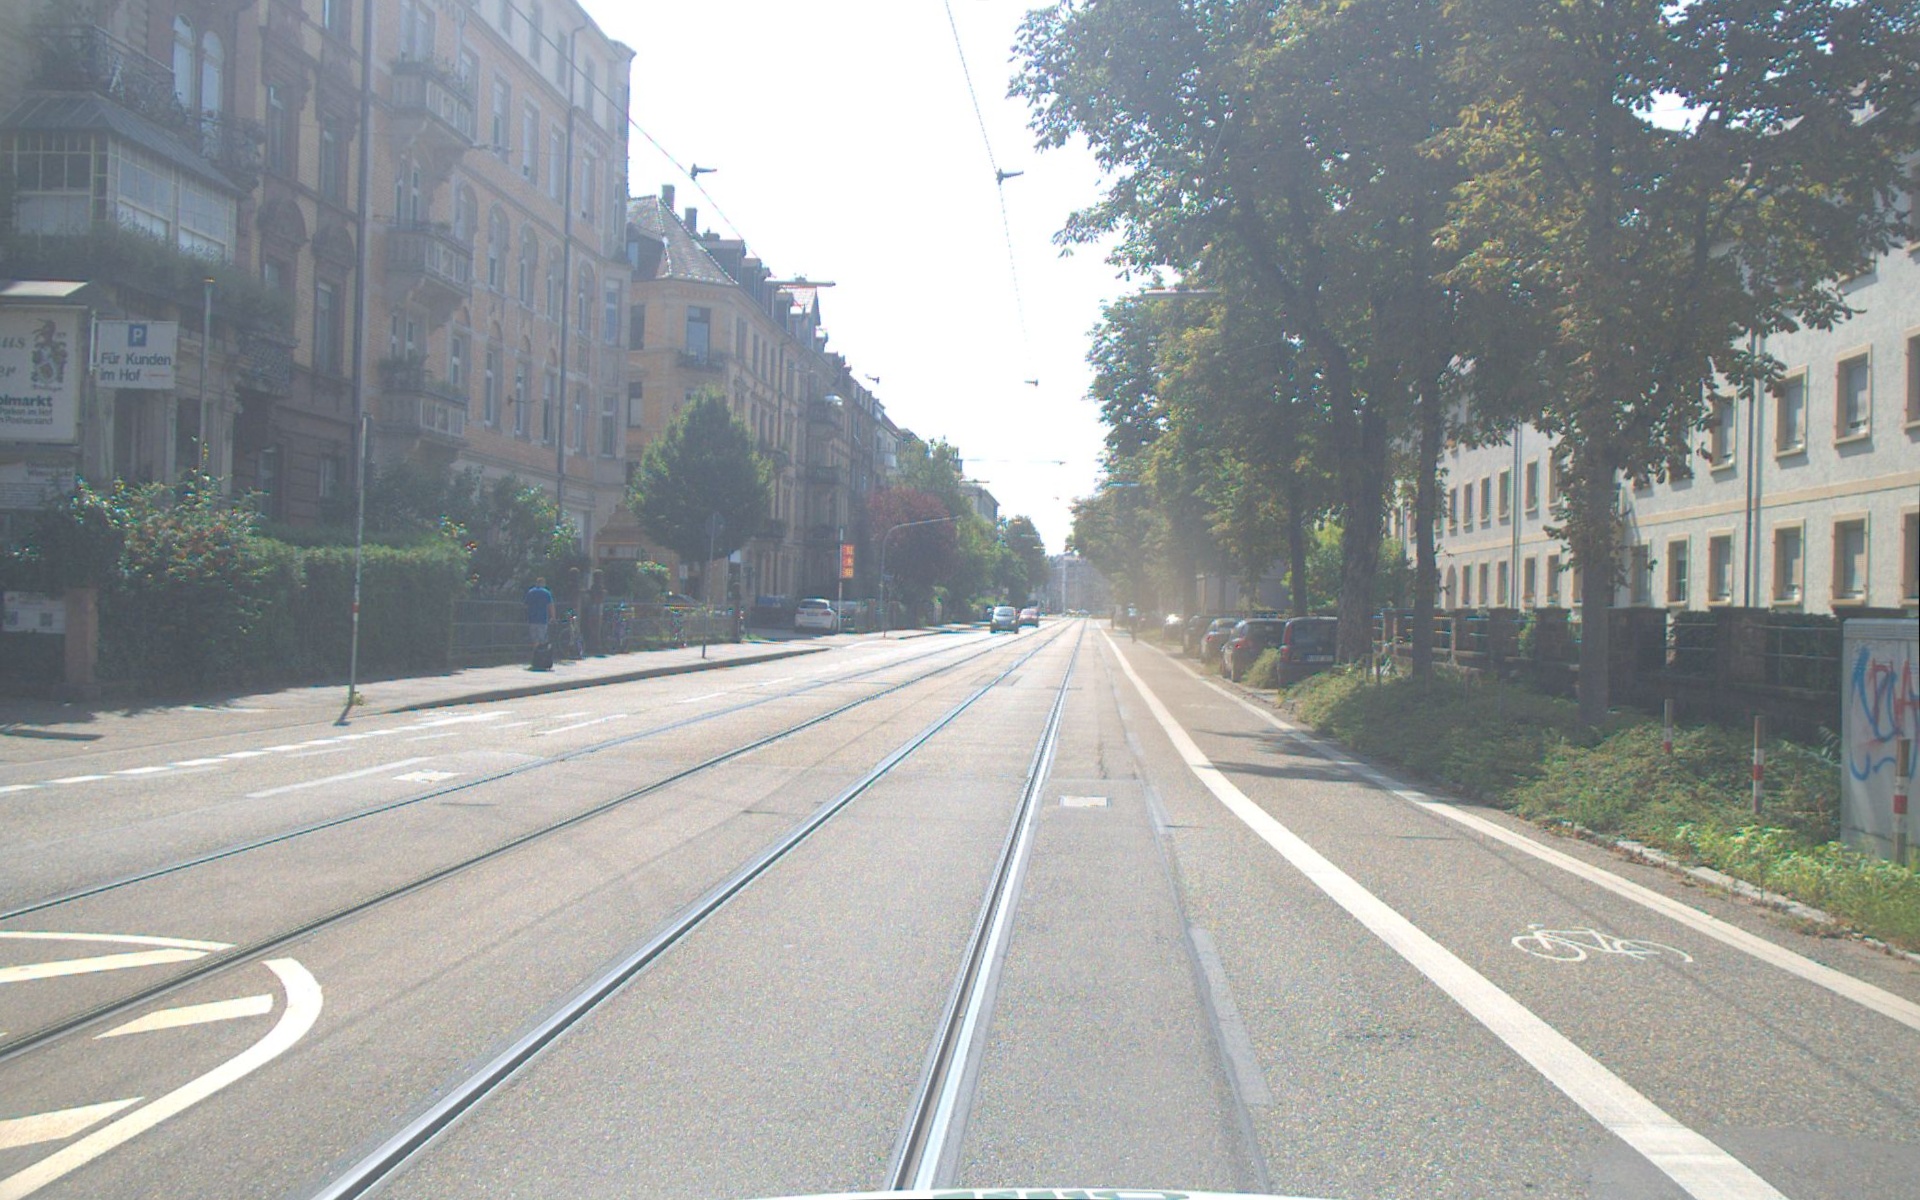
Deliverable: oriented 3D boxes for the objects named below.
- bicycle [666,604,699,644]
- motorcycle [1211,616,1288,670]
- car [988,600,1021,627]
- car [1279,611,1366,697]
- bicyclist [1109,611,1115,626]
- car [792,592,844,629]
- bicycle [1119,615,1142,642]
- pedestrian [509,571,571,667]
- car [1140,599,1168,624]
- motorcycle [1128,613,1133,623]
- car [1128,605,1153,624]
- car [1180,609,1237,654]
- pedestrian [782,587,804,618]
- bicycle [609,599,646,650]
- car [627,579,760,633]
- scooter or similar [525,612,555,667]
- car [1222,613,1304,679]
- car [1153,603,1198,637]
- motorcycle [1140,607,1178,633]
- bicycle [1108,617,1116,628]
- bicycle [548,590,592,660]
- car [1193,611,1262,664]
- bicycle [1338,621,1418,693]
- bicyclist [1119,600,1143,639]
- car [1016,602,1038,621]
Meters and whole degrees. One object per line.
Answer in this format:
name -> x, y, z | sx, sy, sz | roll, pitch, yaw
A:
bicycle -> -7.539, 0.643, 44.964 | 0.382, 1.056, 1.834 | 2, 0, 5
motorcycle -> 7.877, 1.157, 45.038 | 1.962, 1.392, 0.783 | 1, 0, 2
car -> 2.734, 0.823, 101.114 | 1.788, 1.567, 4.002 | 1, 0, 4
car -> 7.085, 1.008, 32.563 | 1.582, 1.557, 3.502 | 1, 0, 11
bicyclist -> 13.738, 1.657, 149.449 | 0.566, 1.301, 0.471 | 2, -1, 7
car -> -6.640, 0.484, 77.807 | 1.952, 1.622, 4.360 | 1, 0, 1
bicycle -> 8.438, 1.399, 81.789 | 1.123, 1.291, 2.714 | 1, 0, 6
pedestrian -> -8.033, 0.362, 31.635 | 0.865, 1.786, 0.870 | 2, 0, 5
car -> 13.851, 0.811, 118.449 | 1.802, 1.558, 4.118 | 1, 2, 4
motorcycle -> 19.407, 2.008, 188.296 | 0.537, 1.086, 2.332 | 2, 0, 5
car -> 14.611, 1.157, 134.013 | 1.802, 1.559, 4.782 | 0, 0, 4
car -> 9.238, 1.144, 61.794 | 1.718, 1.503, 4.388 | 2, 0, 4
pedestrian -> -8.558, 0.134, 84.694 | 0.872, 1.537, 0.863 | 2, 0, -26
bicycle -> -7.862, 0.565, 39.188 | 0.382, 1.167, 1.583 | 2, 0, 5
car -> -9.030, 0.205, 56.230 | 4.015, 1.622, 1.880 | 3, 0, 6
scooter or similar -> -7.863, 0.729, 30.978 | 0.392, 0.999, 0.584 | 3, 0, -3
car -> 7.374, 1.084, 40.553 | 1.583, 1.503, 4.041 | 0, 0, 5
car -> 10.360, 0.934, 79.752 | 1.852, 1.503, 4.843 | 2, 0, 4
motorcycle -> 12.394, 1.251, 103.128 | 0.961, 1.567, 2.308 | 2, -3, -44
bicycle -> 13.734, 2.066, 149.488 | 0.575, 0.955, 2.173 | 2, 0, 7
bicycle -> -8.234, 0.515, 35.000 | 0.382, 1.430, 1.583 | 2, 0, 5
car -> 8.263, 1.122, 51.312 | 1.718, 1.503, 4.460 | -2, -1, 5
bicycle -> 6.765, 0.921, 26.726 | 1.374, 1.128, 0.385 | 1, 0, -32
bicyclist -> 8.451, 0.952, 81.816 | 1.101, 1.869, 0.956 | 2, -1, 5
car -> 5.663, 0.970, 138.558 | 1.695, 1.516, 4.002 | 1, 0, 4
